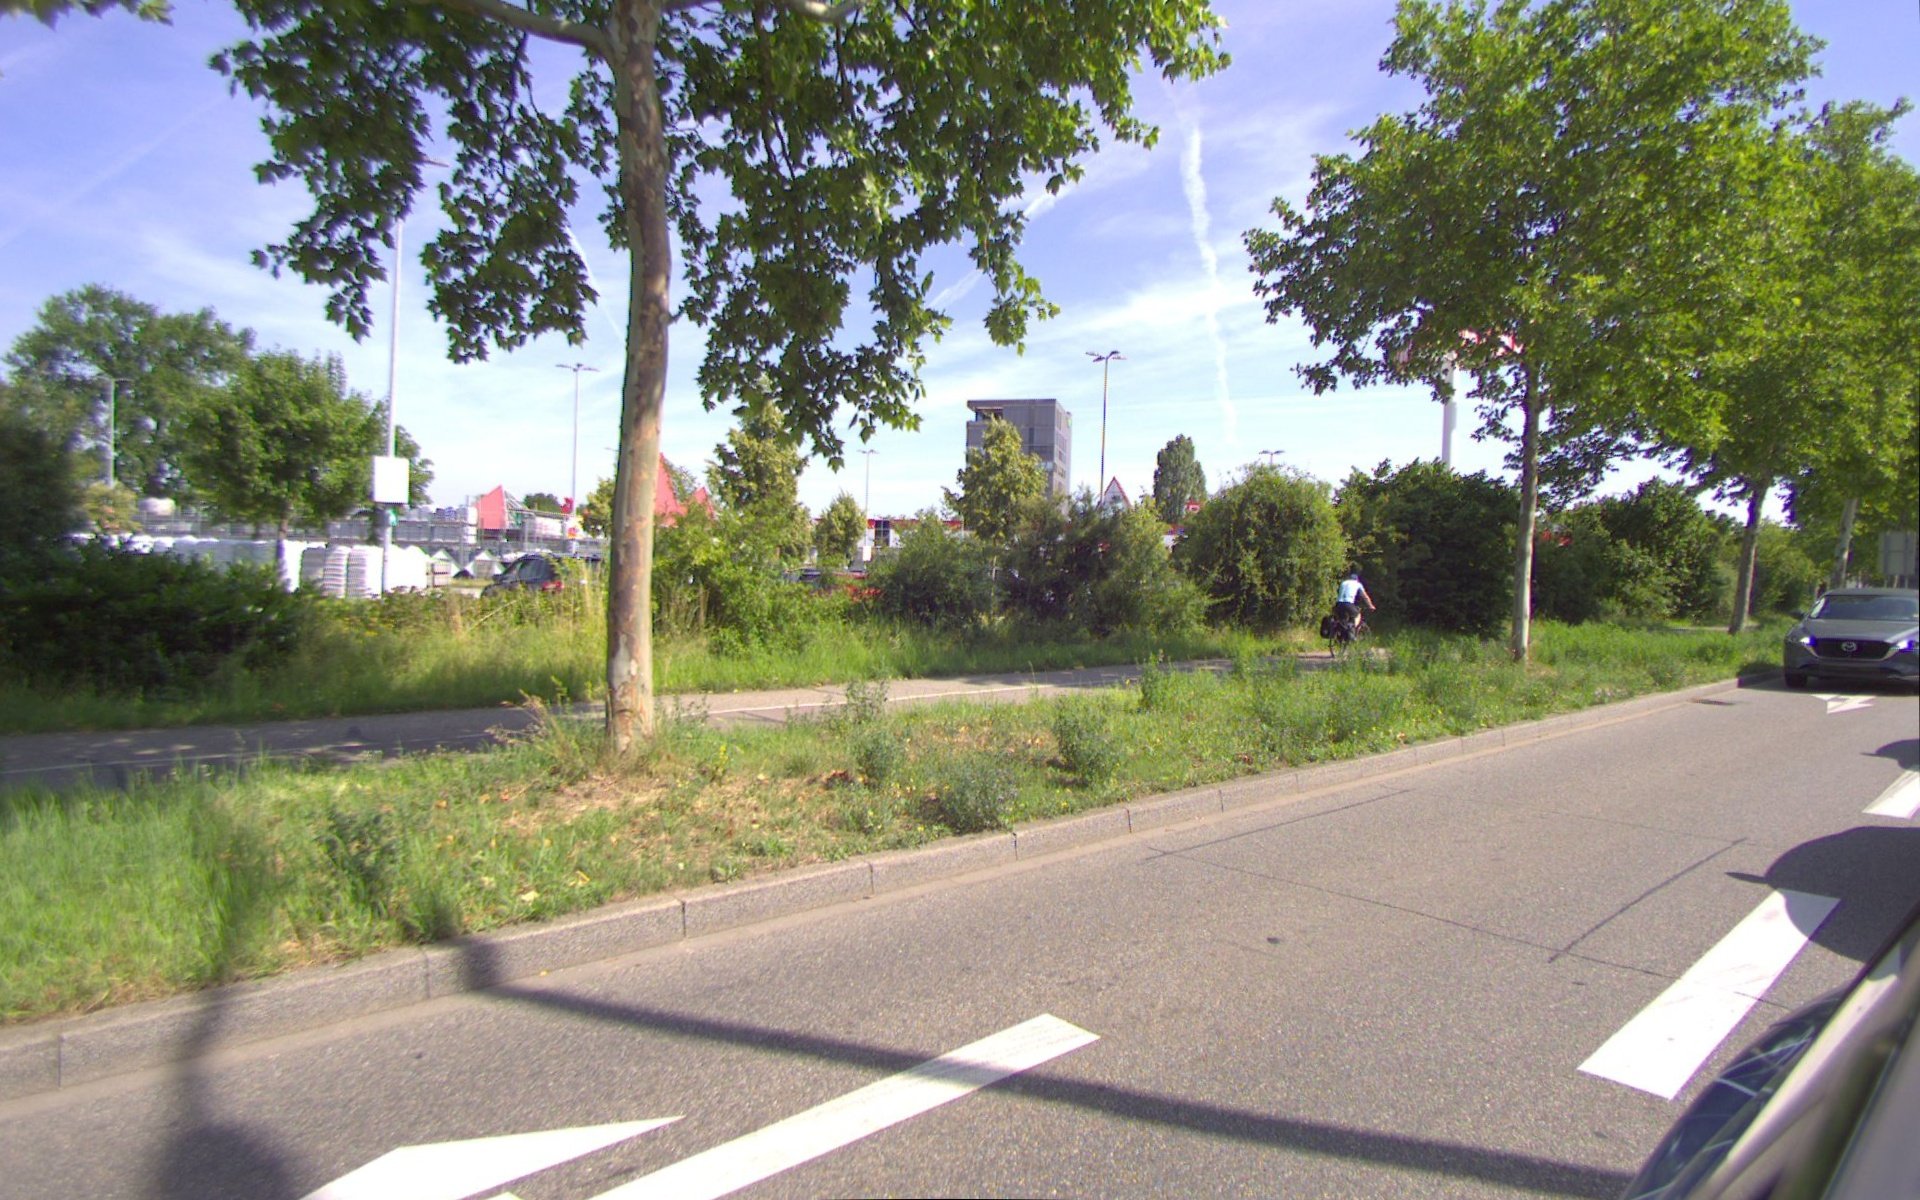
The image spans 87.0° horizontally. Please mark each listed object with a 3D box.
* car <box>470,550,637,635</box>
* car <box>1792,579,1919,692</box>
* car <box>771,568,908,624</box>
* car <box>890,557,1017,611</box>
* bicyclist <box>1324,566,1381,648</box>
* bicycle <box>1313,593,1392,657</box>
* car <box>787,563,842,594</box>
[{"bbox_3d":[-8.633,-0.217,21.350,3.850,1.604,1.821,3,2,43],"label":"car"},{"bbox_3d":[15.570,0.513,17.027,4.418,1.680,1.768,0,0,-42],"label":"car"},{"bbox_3d":[-3.227,-0.149,26.812,3.553,1.316,1.740,3,2,43],"label":"car"},{"bbox_3d":[-0.186,-0.529,32.583,3.801,1.604,1.844,2,2,11],"label":"car"},{"bbox_3d":[8.140,0.129,20.974,0.984,1.651,0.686,0,2,-41],"label":"bicyclist"},{"bbox_3d":[8.169,0.492,21.015,1.900,1.252,0.686,0,2,-41],"label":"bicycle"},{"bbox_3d":[-7.987,-1.202,55.947,1.665,1.593,3.985,2,2,13],"label":"car"}]
